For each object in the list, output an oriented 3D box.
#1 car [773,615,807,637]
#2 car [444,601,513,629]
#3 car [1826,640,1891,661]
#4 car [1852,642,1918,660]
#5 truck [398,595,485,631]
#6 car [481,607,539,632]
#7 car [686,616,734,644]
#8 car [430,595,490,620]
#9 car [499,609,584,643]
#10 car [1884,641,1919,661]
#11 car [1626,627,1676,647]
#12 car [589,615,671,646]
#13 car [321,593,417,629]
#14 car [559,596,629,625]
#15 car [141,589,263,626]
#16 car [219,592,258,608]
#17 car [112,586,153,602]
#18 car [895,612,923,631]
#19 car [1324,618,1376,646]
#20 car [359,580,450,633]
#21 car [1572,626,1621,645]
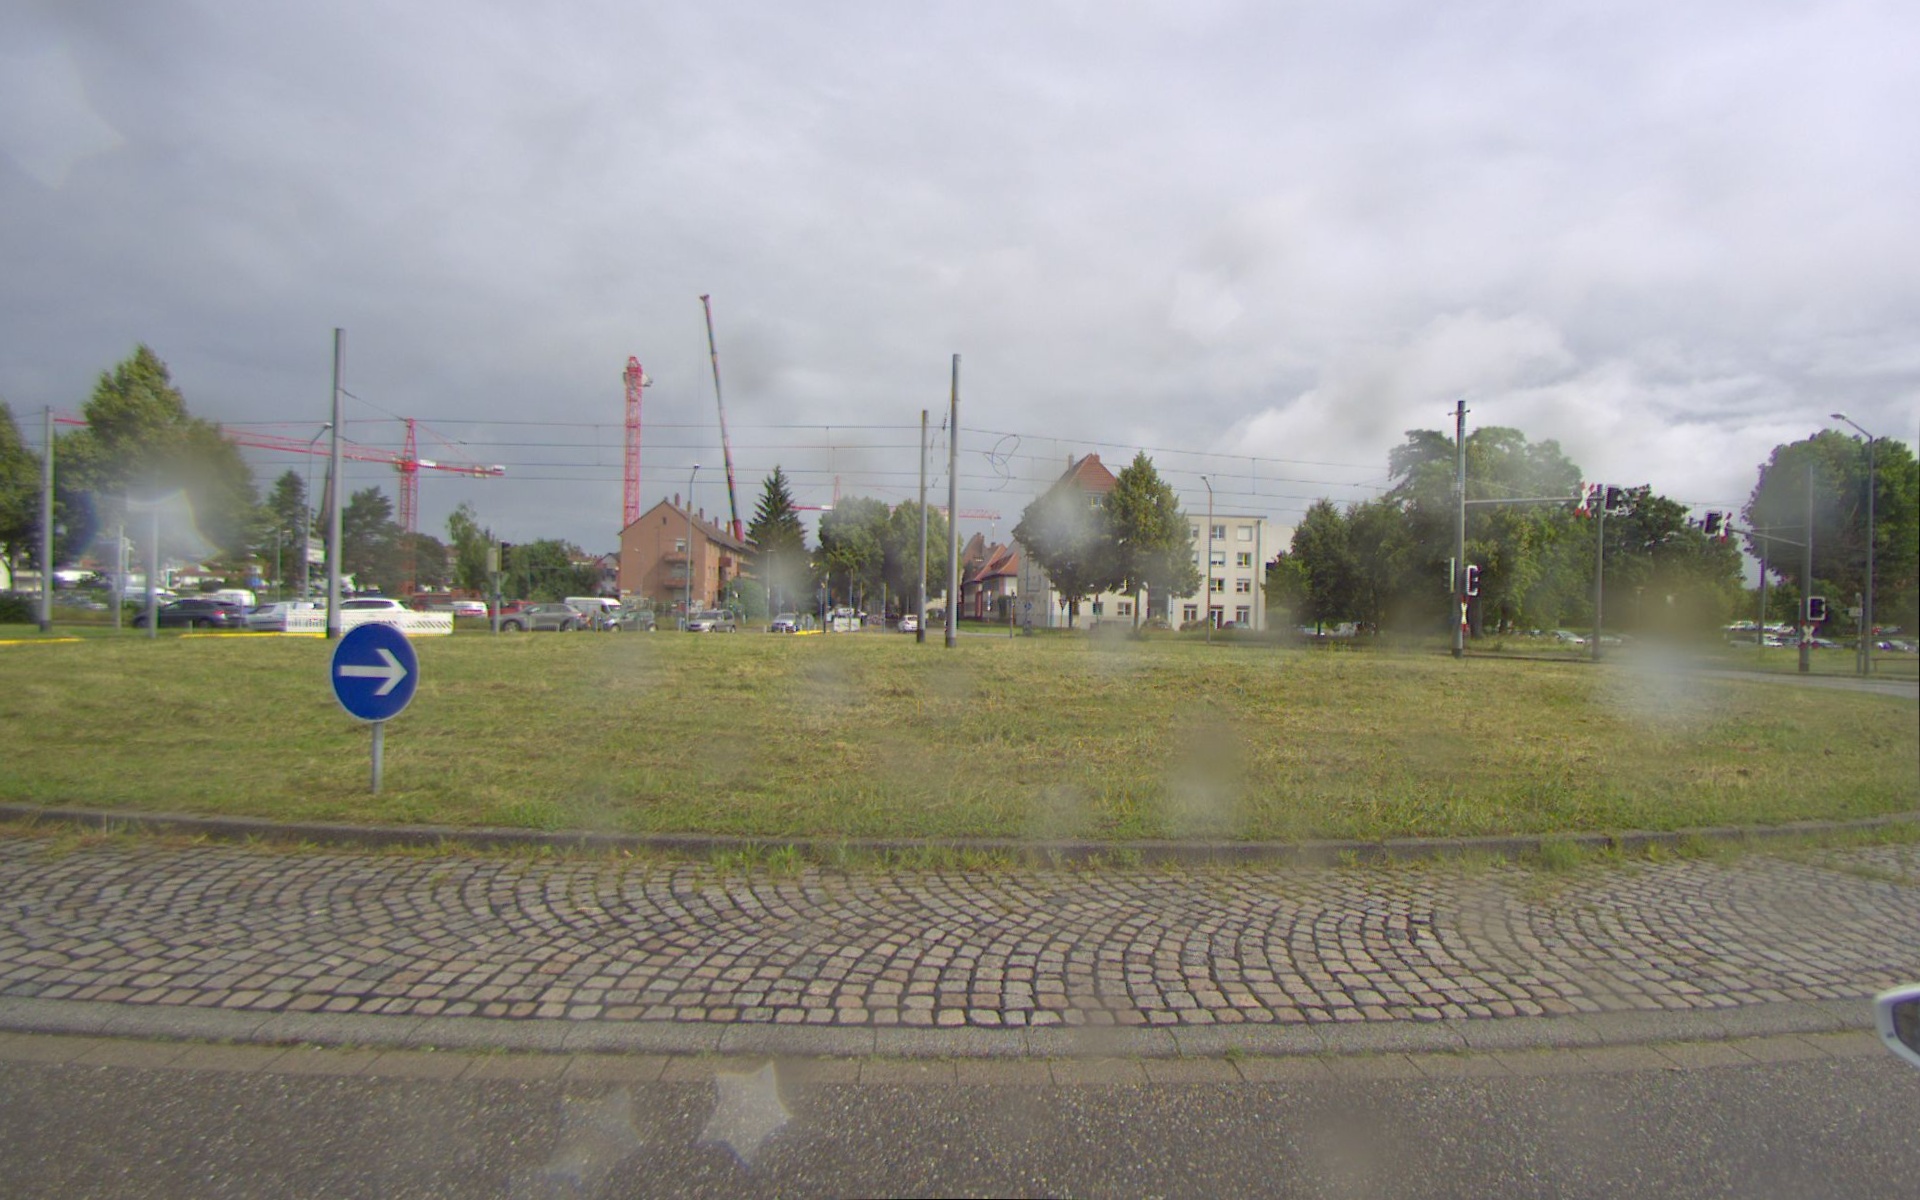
[{"bbox_3d":[-12.906,1.939,76.371,1.567,1.581,3.552,1,0,7],"label":"car"},{"bbox_3d":[-31.169,0.943,65.123,3.944,1.706,1.989,1,0,-24],"label":"car"},{"bbox_3d":[76.072,4.258,85.103,1.815,1.580,3.976,1,-1,-5],"label":"car"},{"bbox_3d":[78.715,4.346,85.569,1.815,1.325,3.976,1,-1,-5],"label":"car"},{"bbox_3d":[-38.397,0.976,74.384,5.984,2.241,2.396,3,0,23],"label":"truck"},{"bbox_3d":[-36.277,1.591,80.993,3.921,1.722,1.930,3,0,19],"label":"car"},{"bbox_3d":[-15.129,1.816,60.913,1.518,1.581,3.502,2,0,10],"label":"car"},{"bbox_3d":[-39.585,0.630,79.576,3.919,1.722,1.859,3,-1,14],"label":"car"},{"bbox_3d":[-20.320,1.258,48.816,3.634,1.581,1.561,2,0,-30],"label":"car"},{"bbox_3d":[81.459,4.354,85.434,1.815,1.580,3.976,1,-1,-5],"label":"car"},{"bbox_3d":[57.151,3.070,83.086,1.617,1.530,3.650,1,-1,0],"label":"car"},{"bbox_3d":[-18.340,1.702,55.963,1.771,1.606,3.980,2,0,41],"label":"car"},{"bbox_3d":[-26.928,0.513,45.853,3.443,1.530,1.495,2,0,-16],"label":"car"},{"bbox_3d":[-31.660,0.940,86.785,6.152,2.112,2.040,3,0,29],"label":"car"},{"bbox_3d":[-33.941,0.347,45.076,3.928,1.537,1.799,1,0,-10],"label":"car"},{"bbox_3d":[-79.426,-0.024,110.632,3.527,1.745,1.501,1,0,13],"label":"car"},{"bbox_3d":[-85.855,-0.586,104.244,3.429,1.581,1.551,1,0,15],"label":"car"},{"bbox_3d":[-4.234,1.749,82.902,1.526,1.473,3.486,1,0,-18],"label":"car"},{"bbox_3d":[31.572,2.572,81.461,2.072,2.085,5.160,1,0,-1],"label":"car"},{"bbox_3d":[-28.600,0.342,51.873,3.947,2.601,1.786,2,0,-26],"label":"car"},{"bbox_3d":[52.220,2.912,82.487,1.613,1.481,3.610,1,-1,-3],"label":"car"}]
